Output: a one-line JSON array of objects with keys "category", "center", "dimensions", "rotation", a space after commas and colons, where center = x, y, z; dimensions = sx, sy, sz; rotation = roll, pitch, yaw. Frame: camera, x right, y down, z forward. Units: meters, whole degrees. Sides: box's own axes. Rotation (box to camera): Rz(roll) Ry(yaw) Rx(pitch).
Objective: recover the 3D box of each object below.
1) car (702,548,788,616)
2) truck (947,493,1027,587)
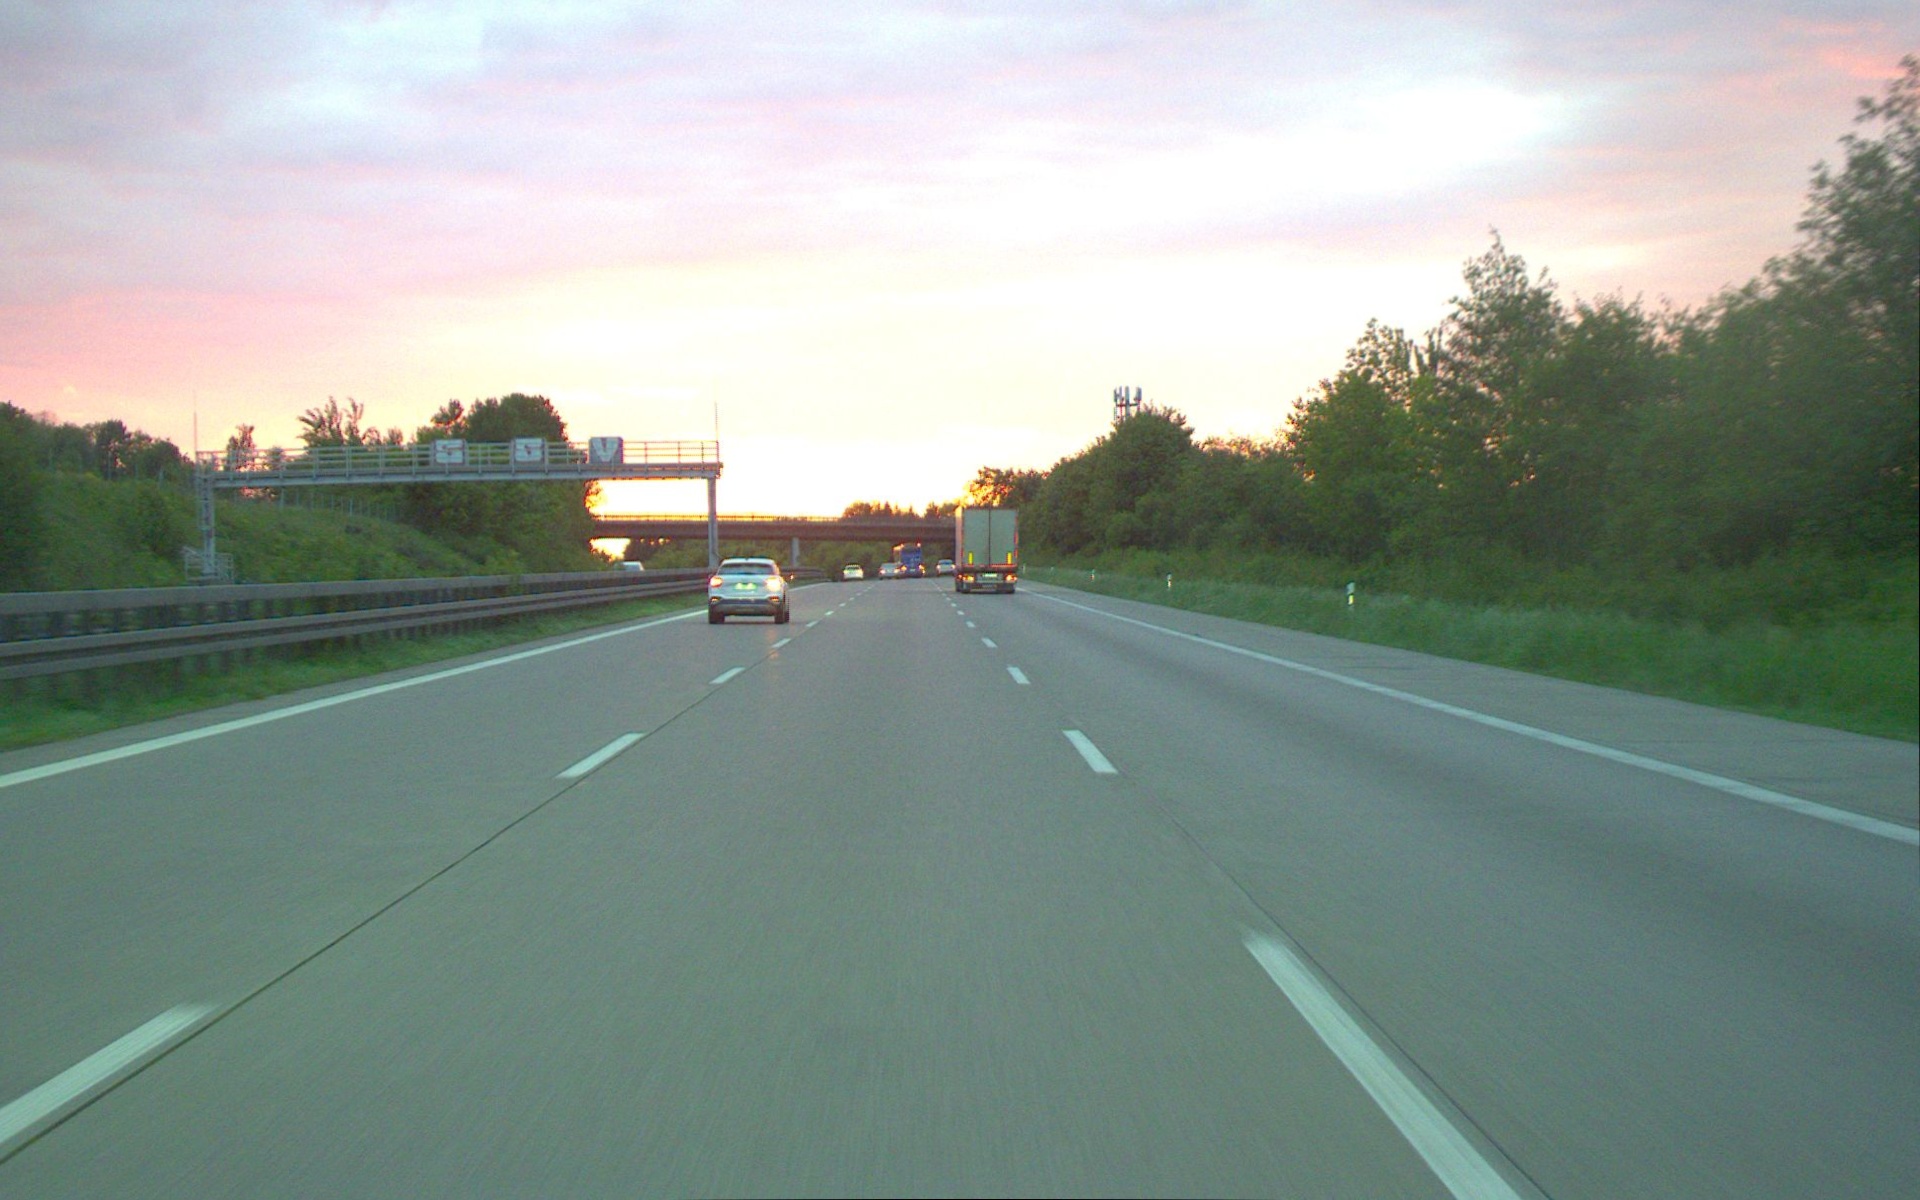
[{"category": "car", "center": [-5.050, -0.439, 81.281], "dimensions": [1.789, 1.495, 5.038], "rotation": [1, 1, -1]}, {"category": "truck", "center": [1.194, -2.723, 157.295], "dimensions": [3.244, 4.113, 9.787], "rotation": [-1, 1, -2]}]
